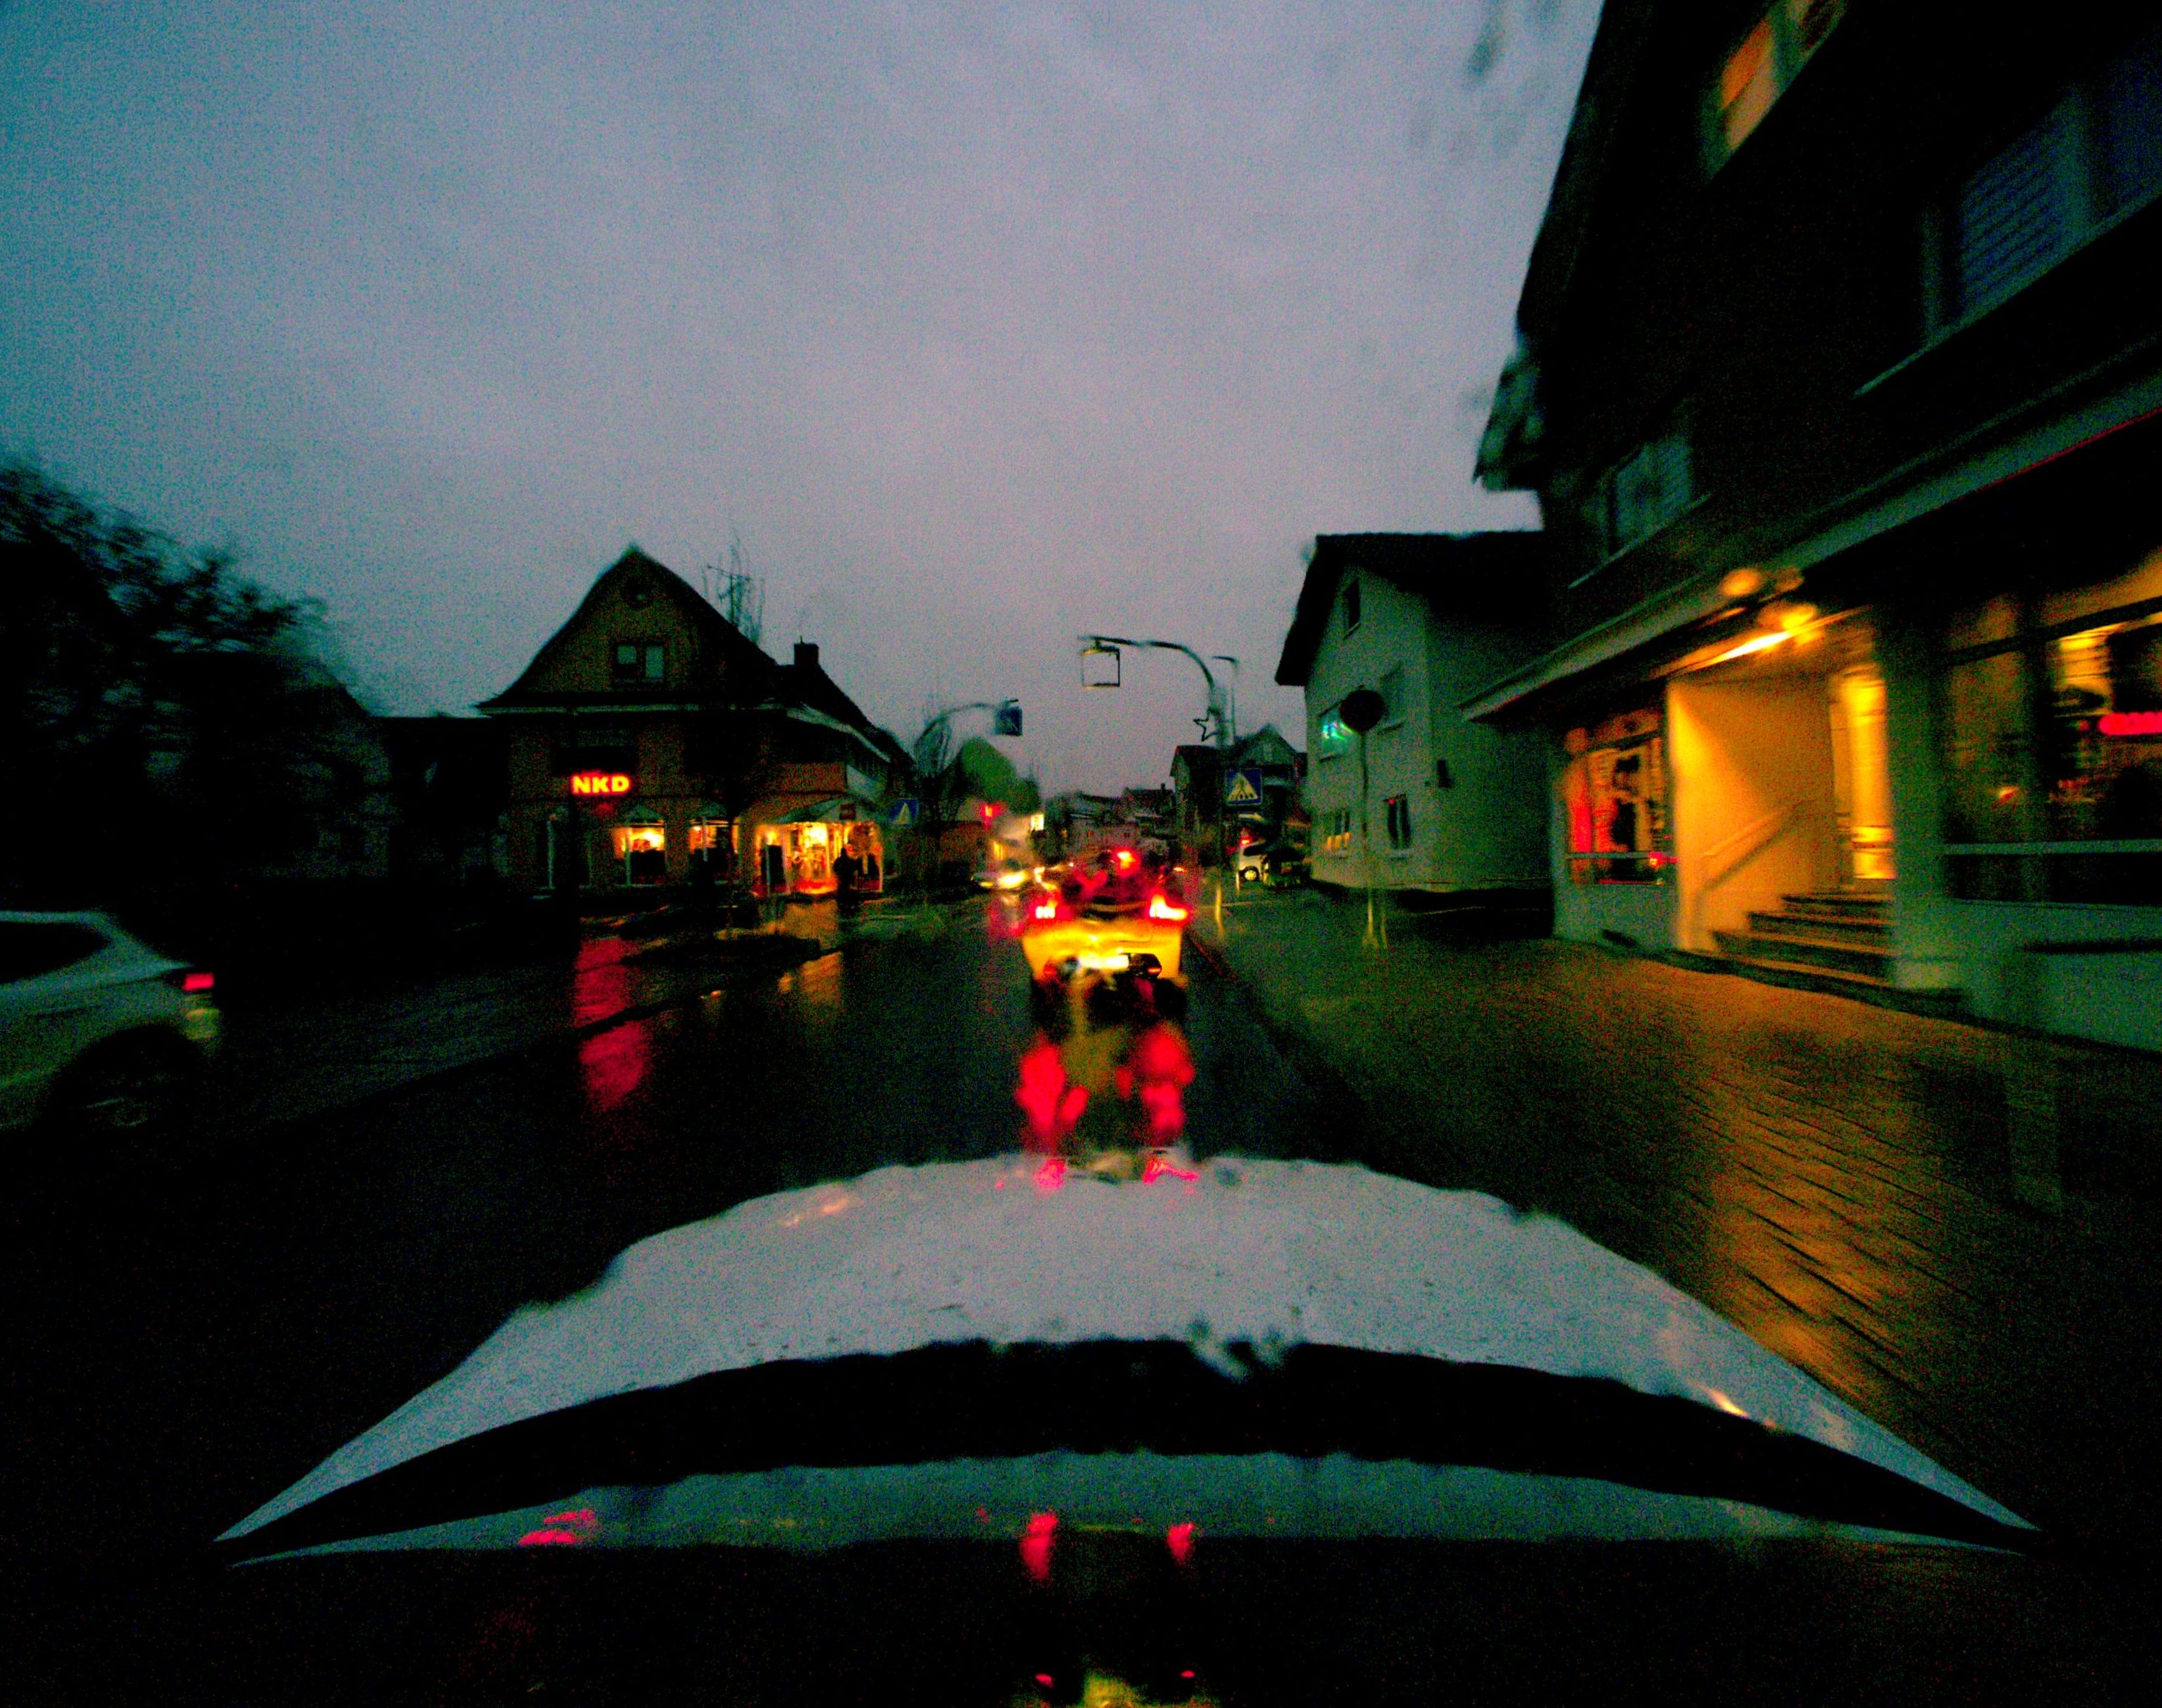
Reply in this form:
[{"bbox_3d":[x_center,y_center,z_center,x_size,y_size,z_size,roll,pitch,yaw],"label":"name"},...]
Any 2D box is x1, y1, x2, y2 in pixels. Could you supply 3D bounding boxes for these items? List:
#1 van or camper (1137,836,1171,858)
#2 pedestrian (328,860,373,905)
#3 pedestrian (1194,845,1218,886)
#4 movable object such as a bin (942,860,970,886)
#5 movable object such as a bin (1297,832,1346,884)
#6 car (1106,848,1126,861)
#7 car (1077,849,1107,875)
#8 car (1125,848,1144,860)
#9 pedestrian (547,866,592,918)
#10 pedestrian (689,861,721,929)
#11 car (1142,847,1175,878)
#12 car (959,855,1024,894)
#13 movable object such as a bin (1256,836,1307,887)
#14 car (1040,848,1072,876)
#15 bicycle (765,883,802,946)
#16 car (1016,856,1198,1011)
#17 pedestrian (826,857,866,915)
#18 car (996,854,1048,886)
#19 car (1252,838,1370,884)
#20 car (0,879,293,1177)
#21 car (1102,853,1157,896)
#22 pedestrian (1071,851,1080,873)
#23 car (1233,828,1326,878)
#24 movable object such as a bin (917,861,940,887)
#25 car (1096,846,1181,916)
[{"bbox_3d":[11.468,-1.080,128.526,2.659,3.047,6.692,-5,1,-18],"label":"van or camper"},{"bbox_3d":[-28.493,1.107,31.781,0.916,1.715,0.838,3,-1,-9],"label":"pedestrian"},{"bbox_3d":[5.822,0.525,38.023,0.963,1.889,1.006,-1,0,1],"label":"pedestrian"},{"bbox_3d":[-6.947,1.060,45.319,1.338,1.354,0.887,-5,-1,-6],"label":"movable object such as a bin"},{"bbox_3d":[8.266,0.137,28.048,1.281,1.644,1.185,-4,0,1],"label":"movable object such as a bin"},{"bbox_3d":[5.484,0.090,127.735,1.995,1.765,4.332,-4,1,-12],"label":"car"},{"bbox_3d":[0.835,0.528,57.930,1.986,1.705,4.970,0,1,2],"label":"car"},{"bbox_3d":[8.351,-0.025,127.928,1.994,1.610,4.159,-4,-1,-10],"label":"car"},{"bbox_3d":[-12.766,0.934,20.334,0.815,1.245,0.691,0,0,34],"label":"pedestrian"},{"bbox_3d":[-11.337,1.217,24.542,0.739,2.013,0.817,0,0,-36],"label":"pedestrian"},{"bbox_3d":[4.817,0.508,50.637,1.984,1.857,4.006,-1,0,5],"label":"car"},{"bbox_3d":[-3.870,0.855,36.036,1.984,1.558,4.627,-1,0,5],"label":"car"},{"bbox_3d":[6.916,0.251,28.158,1.388,1.644,1.262,-4,0,1],"label":"movable object such as a bin"},{"bbox_3d":[-1.674,0.512,56.294,2.079,1.792,5.023,-1,0,0],"label":"car"},{"bbox_3d":[-5.858,1.165,16.089,0.324,1.061,1.737,-7,2,-12],"label":"bicycle"},{"bbox_3d":[0.331,0.799,10.146,1.807,1.533,4.002,-1,0,2],"label":"car"},{"bbox_3d":[-6.891,0.908,23.901,0.823,1.658,1.098,0,0,1],"label":"pedestrian"},{"bbox_3d":[-3.037,0.804,43.153,1.984,1.522,4.984,-2,0,4],"label":"car"},{"bbox_3d":[8.548,0.269,30.575,3.966,1.486,1.916,-3,-1,7],"label":"car"},{"bbox_3d":[-6.460,0.920,3.604,1.777,1.489,4.184,-1,0,2],"label":"car"},{"bbox_3d":[1.844,0.760,31.993,1.986,1.588,4.001,-1,0,1],"label":"car"},{"bbox_3d":[-0.383,0.548,59.808,0.572,1.585,0.530,-2,1,3],"label":"pedestrian"},{"bbox_3d":[9.366,-0.033,38.611,4.063,2.049,2.007,-4,0,12],"label":"car"},{"bbox_3d":[-8.482,1.103,45.207,1.148,1.354,0.850,-1,0,-7],"label":"movable object such as a bin"},{"bbox_3d":[1.385,0.643,21.093,1.985,1.625,4.001,-1,0,1],"label":"car"}]
